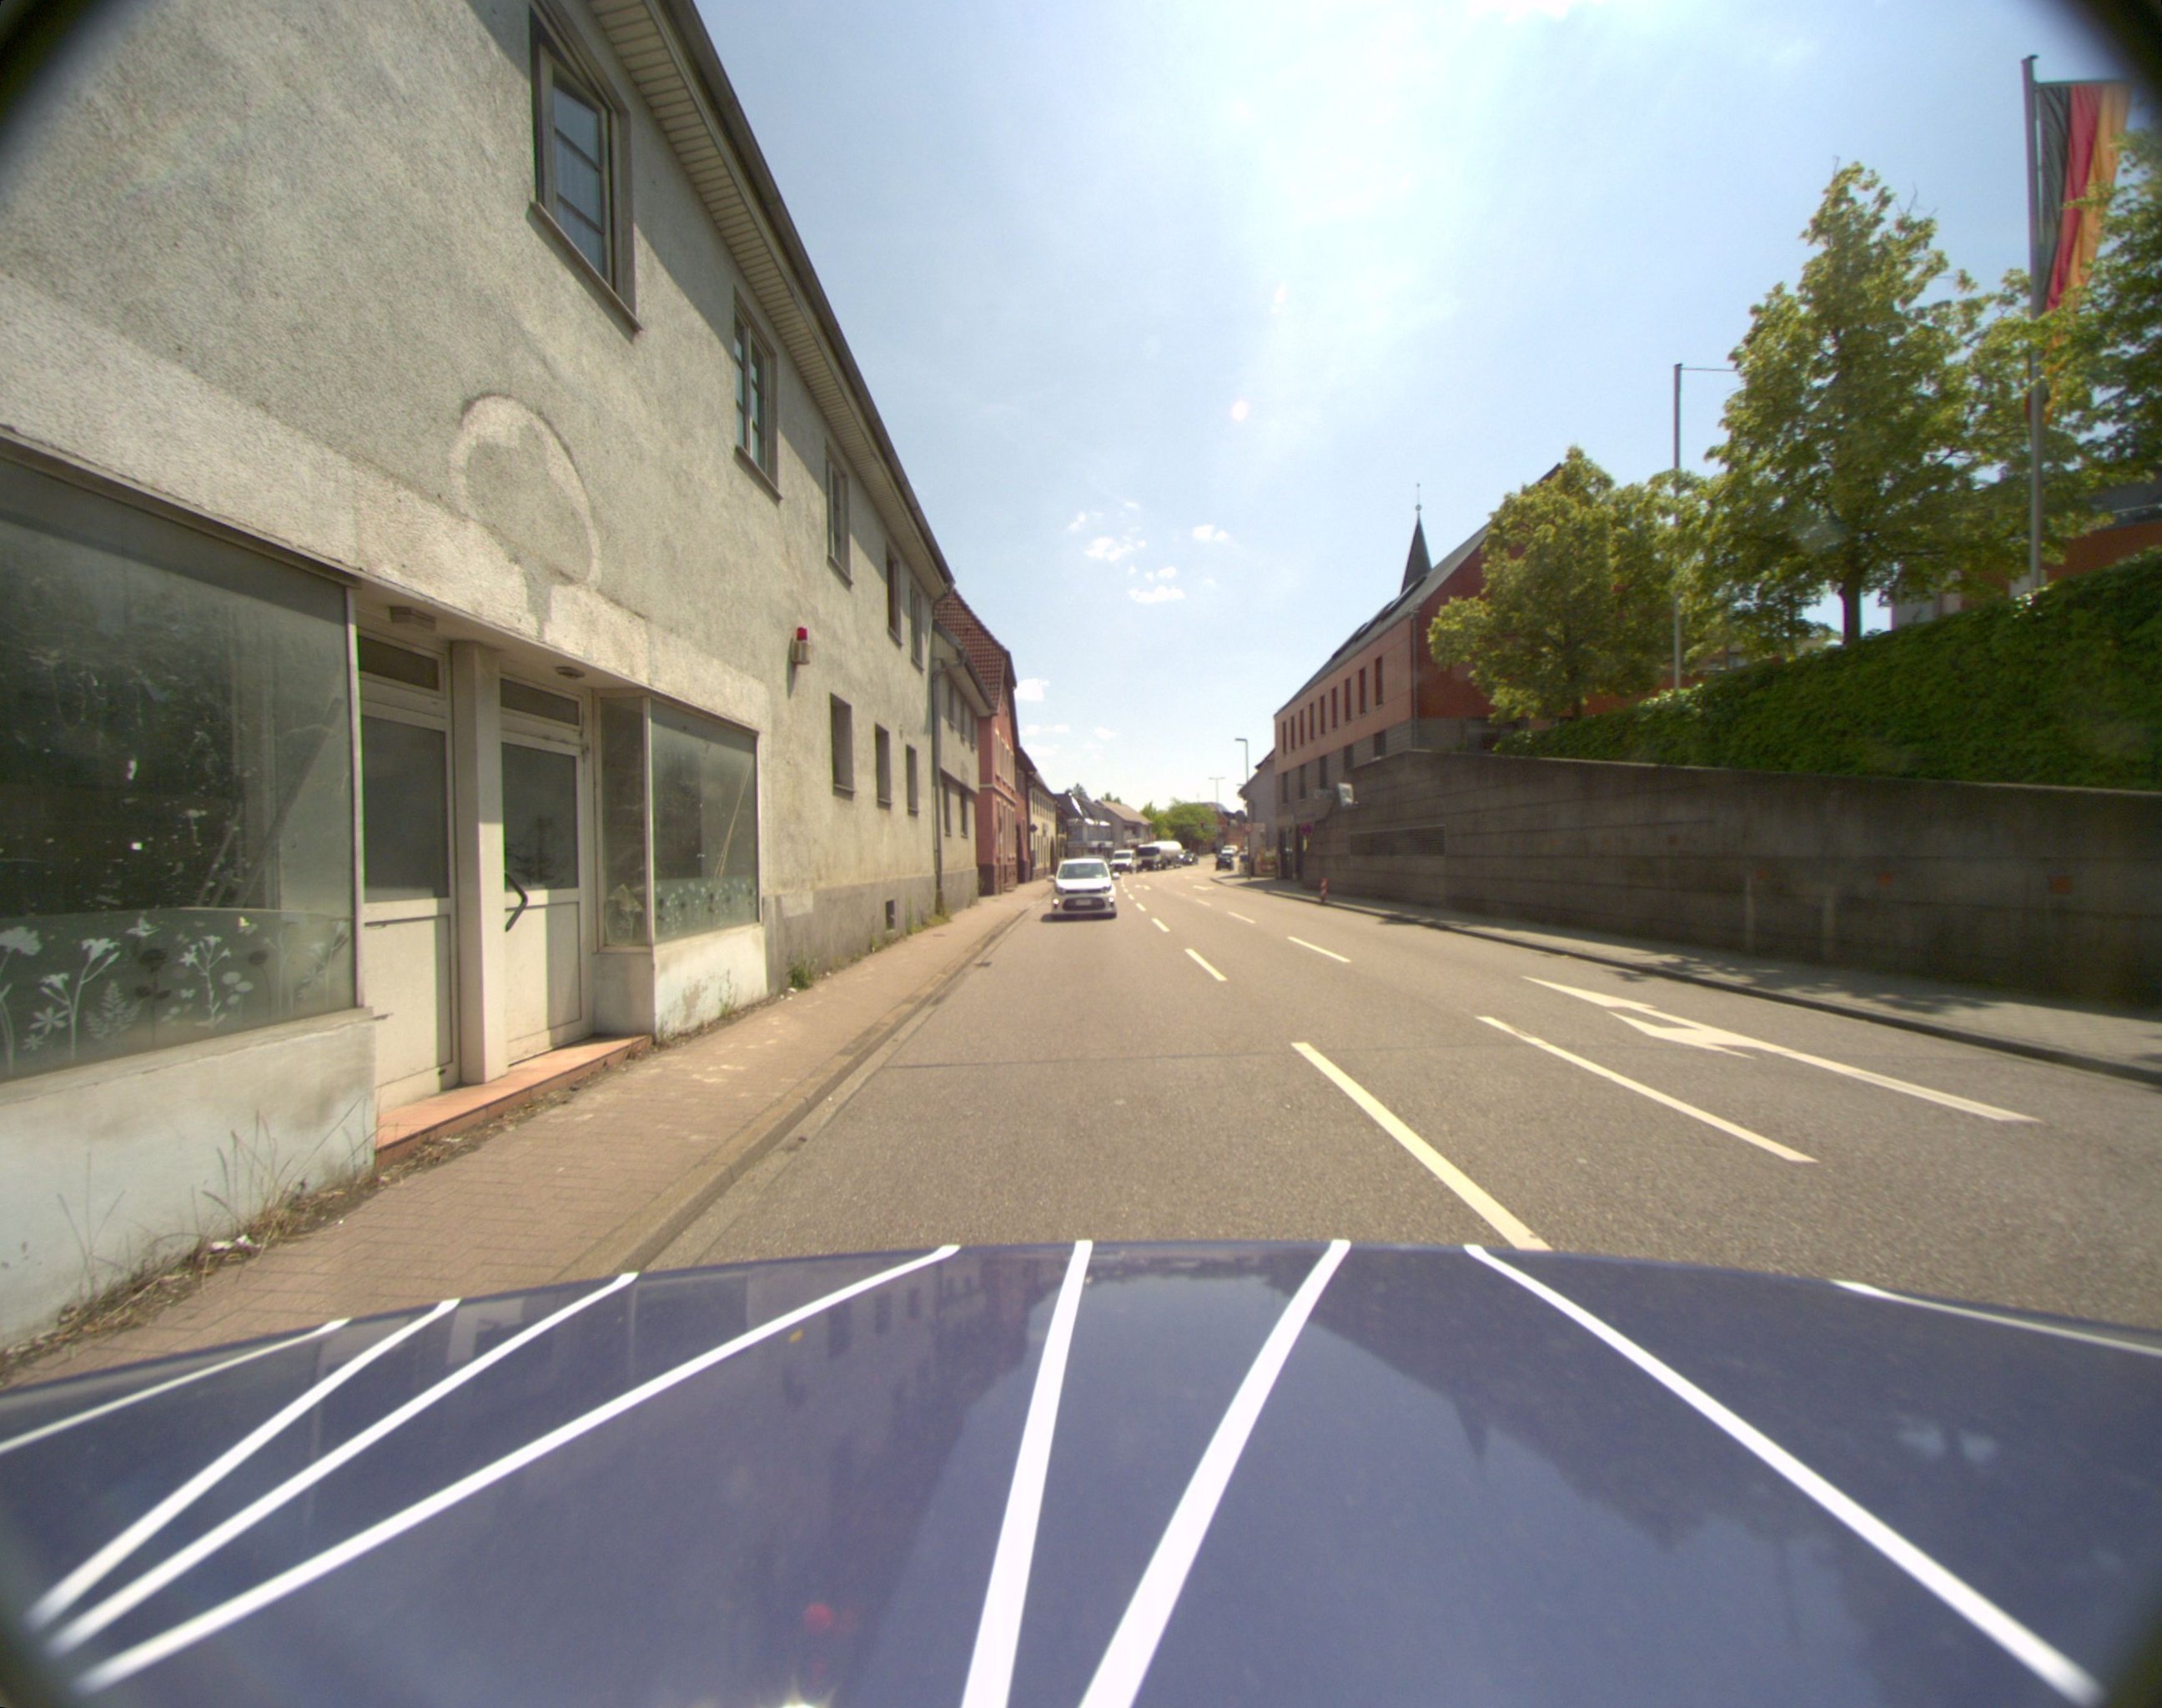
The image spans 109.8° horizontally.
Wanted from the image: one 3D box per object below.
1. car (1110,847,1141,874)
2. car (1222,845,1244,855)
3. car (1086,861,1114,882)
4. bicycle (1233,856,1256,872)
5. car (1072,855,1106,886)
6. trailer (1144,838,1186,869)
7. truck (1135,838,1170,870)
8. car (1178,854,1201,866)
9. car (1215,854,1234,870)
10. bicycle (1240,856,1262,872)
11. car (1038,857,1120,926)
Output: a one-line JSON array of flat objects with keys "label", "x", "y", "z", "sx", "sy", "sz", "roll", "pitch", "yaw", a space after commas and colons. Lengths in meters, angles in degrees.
[{"label": "car", "x": 4.392, "y": 0.642, "z": 74.302, "sx": 2.172, "sy": 2.549, "sz": 4.830, "roll": -1, "pitch": 0, "yaw": 15}, {"label": "car", "x": 25.458, "y": -0.709, "z": 127.389, "sx": 2.007, "sy": 1.621, "sz": 4.587, "roll": 0, "pitch": 0, "yaw": 34}, {"label": "car", "x": 1.393, "y": 1.258, "z": 55.278, "sx": 1.929, "sy": 1.358, "sz": 4.304, "roll": -2, "pitch": 0, "yaw": 2}, {"label": "bicycle", "x": 13.312, "y": 0.822, "z": 61.832, "sx": 1.834, "sy": 1.241, "sz": 0.577, "roll": -3, "pitch": -1, "yaw": -34}, {"label": "car", "x": 0.455, "y": 0.866, "z": 41.593, "sx": 1.724, "sy": 1.541, "sz": 4.303, "roll": -2, "pitch": 0, "yaw": 1}, {"label": "trailer", "x": 10.613, "y": -0.057, "z": 94.934, "sx": 2.833, "sy": 3.549, "sz": 10.981, "roll": -1, "pitch": 0, "yaw": 19}, {"label": "truck", "x": 8.359, "y": 0.011, "z": 88.398, "sx": 2.844, "sy": 3.549, "sz": 5.476, "roll": -1, "pitch": 0, "yaw": 19}, {"label": "car", "x": 15.246, "y": 0.880, "z": 106.475, "sx": 2.008, "sy": 1.621, "sz": 4.585, "roll": -1, "pitch": 0, "yaw": 25}, {"label": "car", "x": 16.219, "y": 0.891, "z": 85.834, "sx": 1.672, "sy": 1.648, "sz": 4.022, "roll": -1, "pitch": 0, "yaw": 16}, {"label": "bicycle", "x": 13.734, "y": 0.810, "z": 61.336, "sx": 1.834, "sy": 1.241, "sz": 0.577, "roll": -3, "pitch": -1, "yaw": -34}, {"label": "car", "x": 0.063, "y": 0.881, "z": 20.016, "sx": 1.724, "sy": 1.541, "sz": 4.304, "roll": -2, "pitch": 0, "yaw": 5}]
